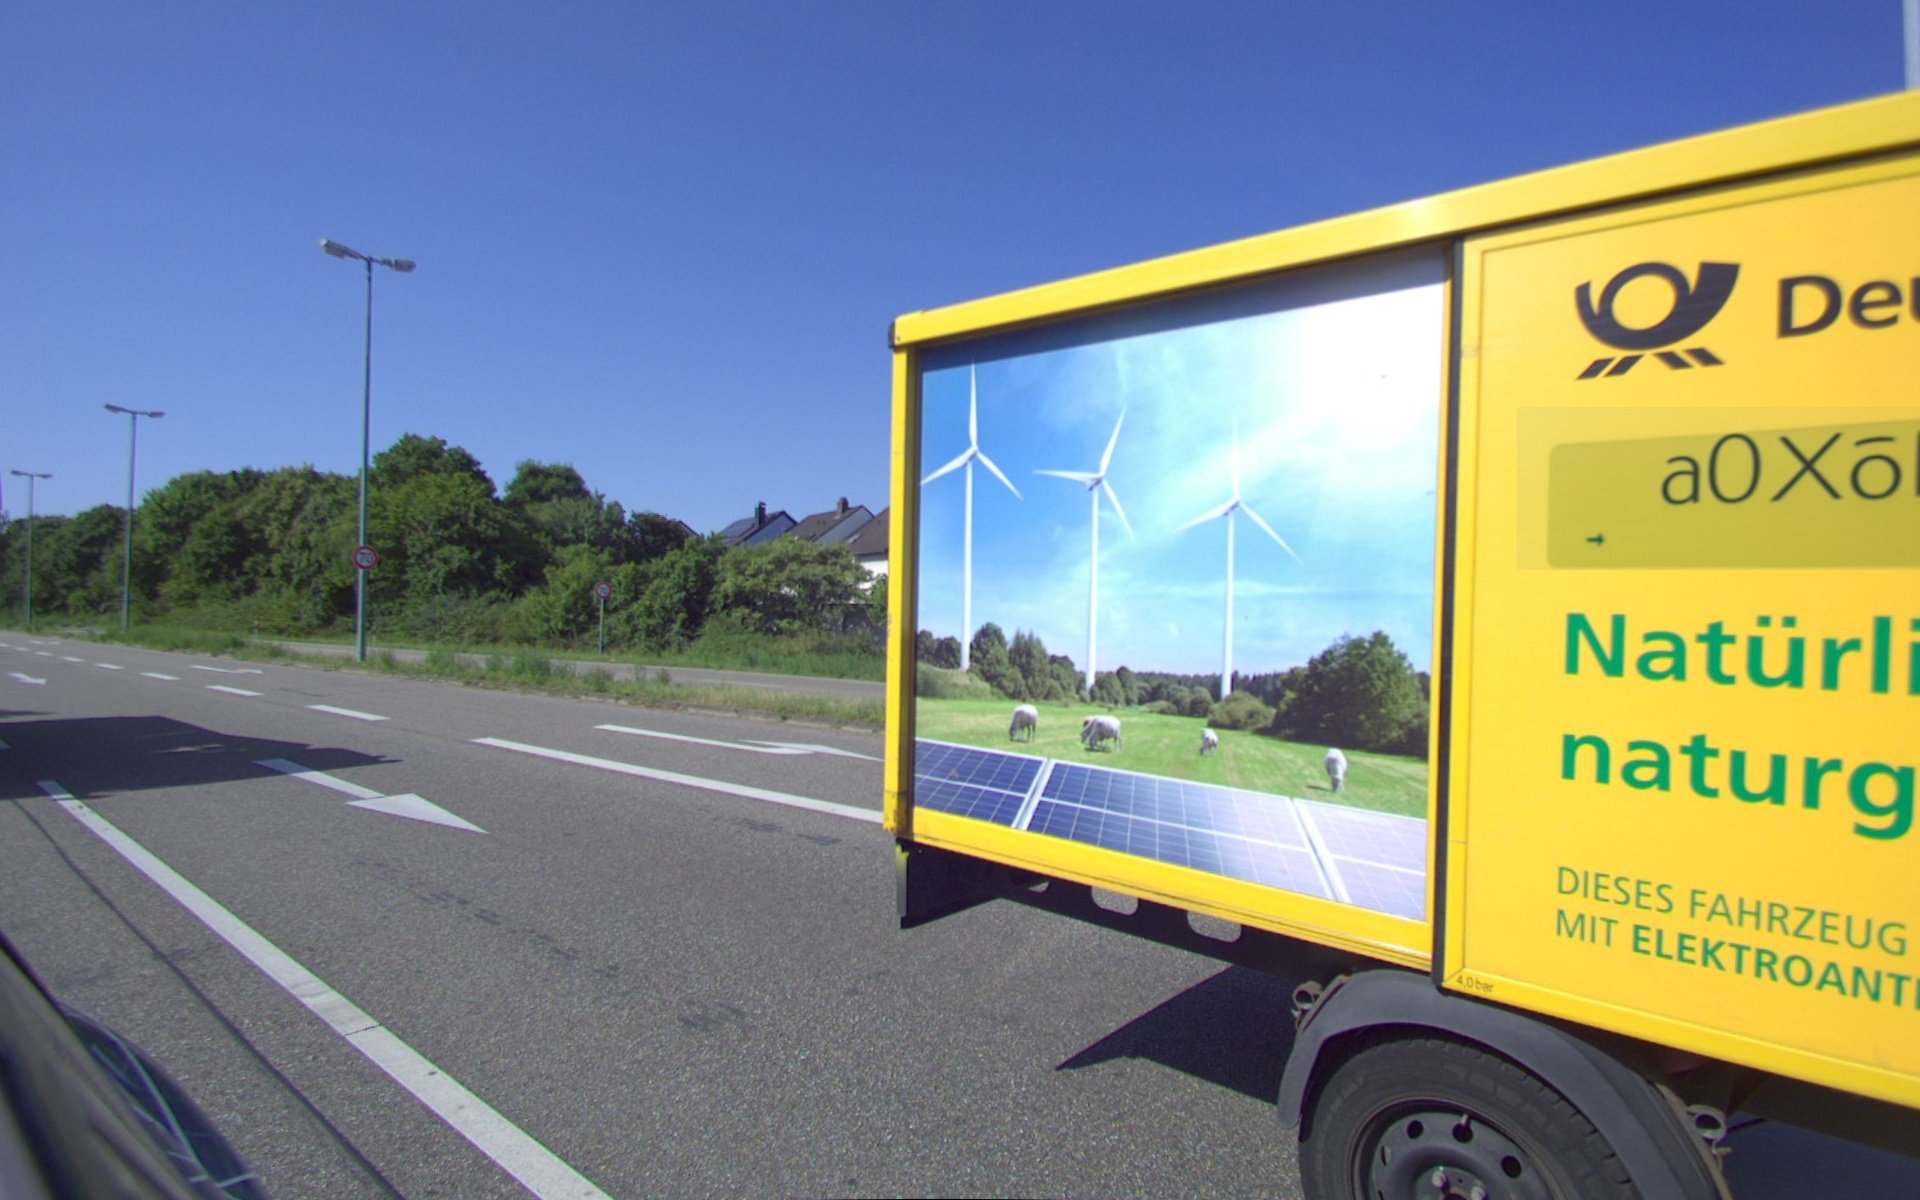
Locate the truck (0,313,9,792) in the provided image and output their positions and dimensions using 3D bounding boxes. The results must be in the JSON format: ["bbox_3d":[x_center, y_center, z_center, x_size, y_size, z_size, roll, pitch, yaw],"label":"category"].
[{"bbox_3d":[-11.188,-0.375,9.414,6.590,3.904,2.902,0,0,42],"label":"truck"}]

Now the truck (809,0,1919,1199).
[{"bbox_3d":[2.452,0.156,1.768,5.915,2.476,2.089,0,-1,42],"label":"truck"}]
